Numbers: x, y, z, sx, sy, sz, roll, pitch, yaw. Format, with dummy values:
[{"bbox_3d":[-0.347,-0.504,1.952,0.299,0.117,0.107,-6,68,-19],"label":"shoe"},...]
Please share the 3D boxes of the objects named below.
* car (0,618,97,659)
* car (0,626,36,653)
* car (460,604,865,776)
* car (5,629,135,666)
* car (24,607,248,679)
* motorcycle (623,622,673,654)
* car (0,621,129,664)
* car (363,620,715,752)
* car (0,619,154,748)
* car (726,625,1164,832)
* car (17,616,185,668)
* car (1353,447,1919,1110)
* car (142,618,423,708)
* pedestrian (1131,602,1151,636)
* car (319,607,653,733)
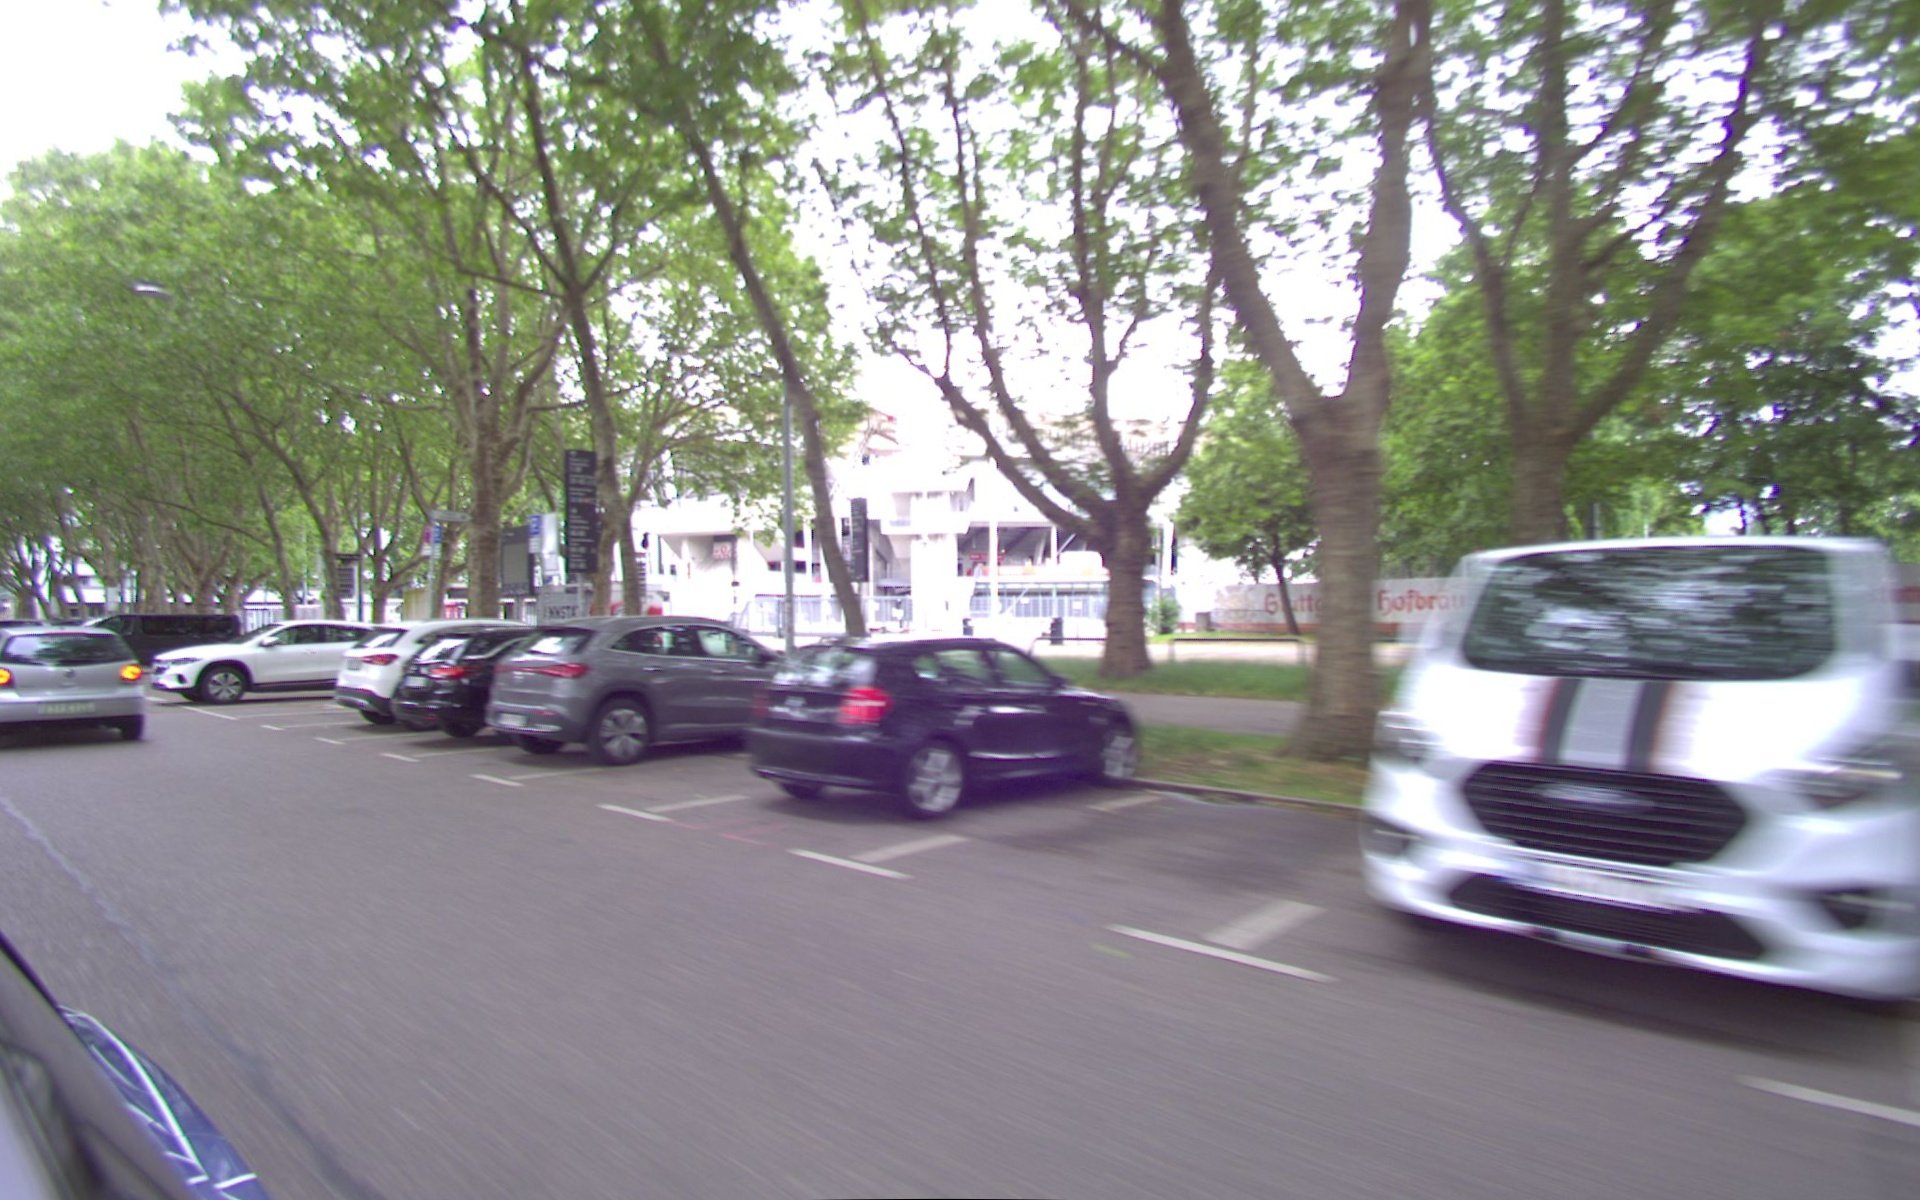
[{"bbox_3d":[-45.647,1.891,49.614,2.208,1.939,4.852,-2,-3,42],"label":"car"},{"bbox_3d":[-60.229,2.473,62.557,1.758,1.630,4.466,-2,-1,44],"label":"car"},{"bbox_3d":[-3.382,0.999,12.219,1.998,1.680,4.296,-2,-4,40],"label":"car"},{"bbox_3d":[-37.499,2.005,42.717,1.752,1.505,3.858,-1,-3,40],"label":"car"},{"bbox_3d":[-26.725,1.411,33.018,1.938,2.144,5.380,-2,-4,40],"label":"car"},{"bbox_3d":[-11.645,1.406,37.829,0.740,1.151,1.636,-2,-2,45],"label":"motorcycle"},{"bbox_3d":[-39.845,1.896,44.768,1.798,1.795,4.528,-3,-4,43],"label":"car"},{"bbox_3d":[-5.486,1.083,13.588,1.841,1.487,3.947,-2,-4,39],"label":"car"},{"bbox_3d":[-12.148,1.012,13.324,3.836,1.482,1.671,-2,-3,40],"label":"car"},{"bbox_3d":[0.065,0.993,9.042,1.683,1.424,3.944,-2,-4,42],"label":"car"},{"bbox_3d":[-32.104,1.613,37.948,1.806,1.834,4.601,-4,-5,44],"label":"car"},{"bbox_3d":[3.951,0.632,5.462,1.918,2.035,4.843,-1,-3,41],"label":"car"},{"bbox_3d":[-13.572,1.216,20.494,1.998,1.609,4.335,-2,-3,40],"label":"car"},{"bbox_3d":[9.467,1.007,52.942,0.764,1.737,0.651,-2,0,41],"label":"pedestrian"},{"bbox_3d":[-7.270,1.053,15.901,1.998,1.680,4.296,-2,-4,40],"label":"car"}]
